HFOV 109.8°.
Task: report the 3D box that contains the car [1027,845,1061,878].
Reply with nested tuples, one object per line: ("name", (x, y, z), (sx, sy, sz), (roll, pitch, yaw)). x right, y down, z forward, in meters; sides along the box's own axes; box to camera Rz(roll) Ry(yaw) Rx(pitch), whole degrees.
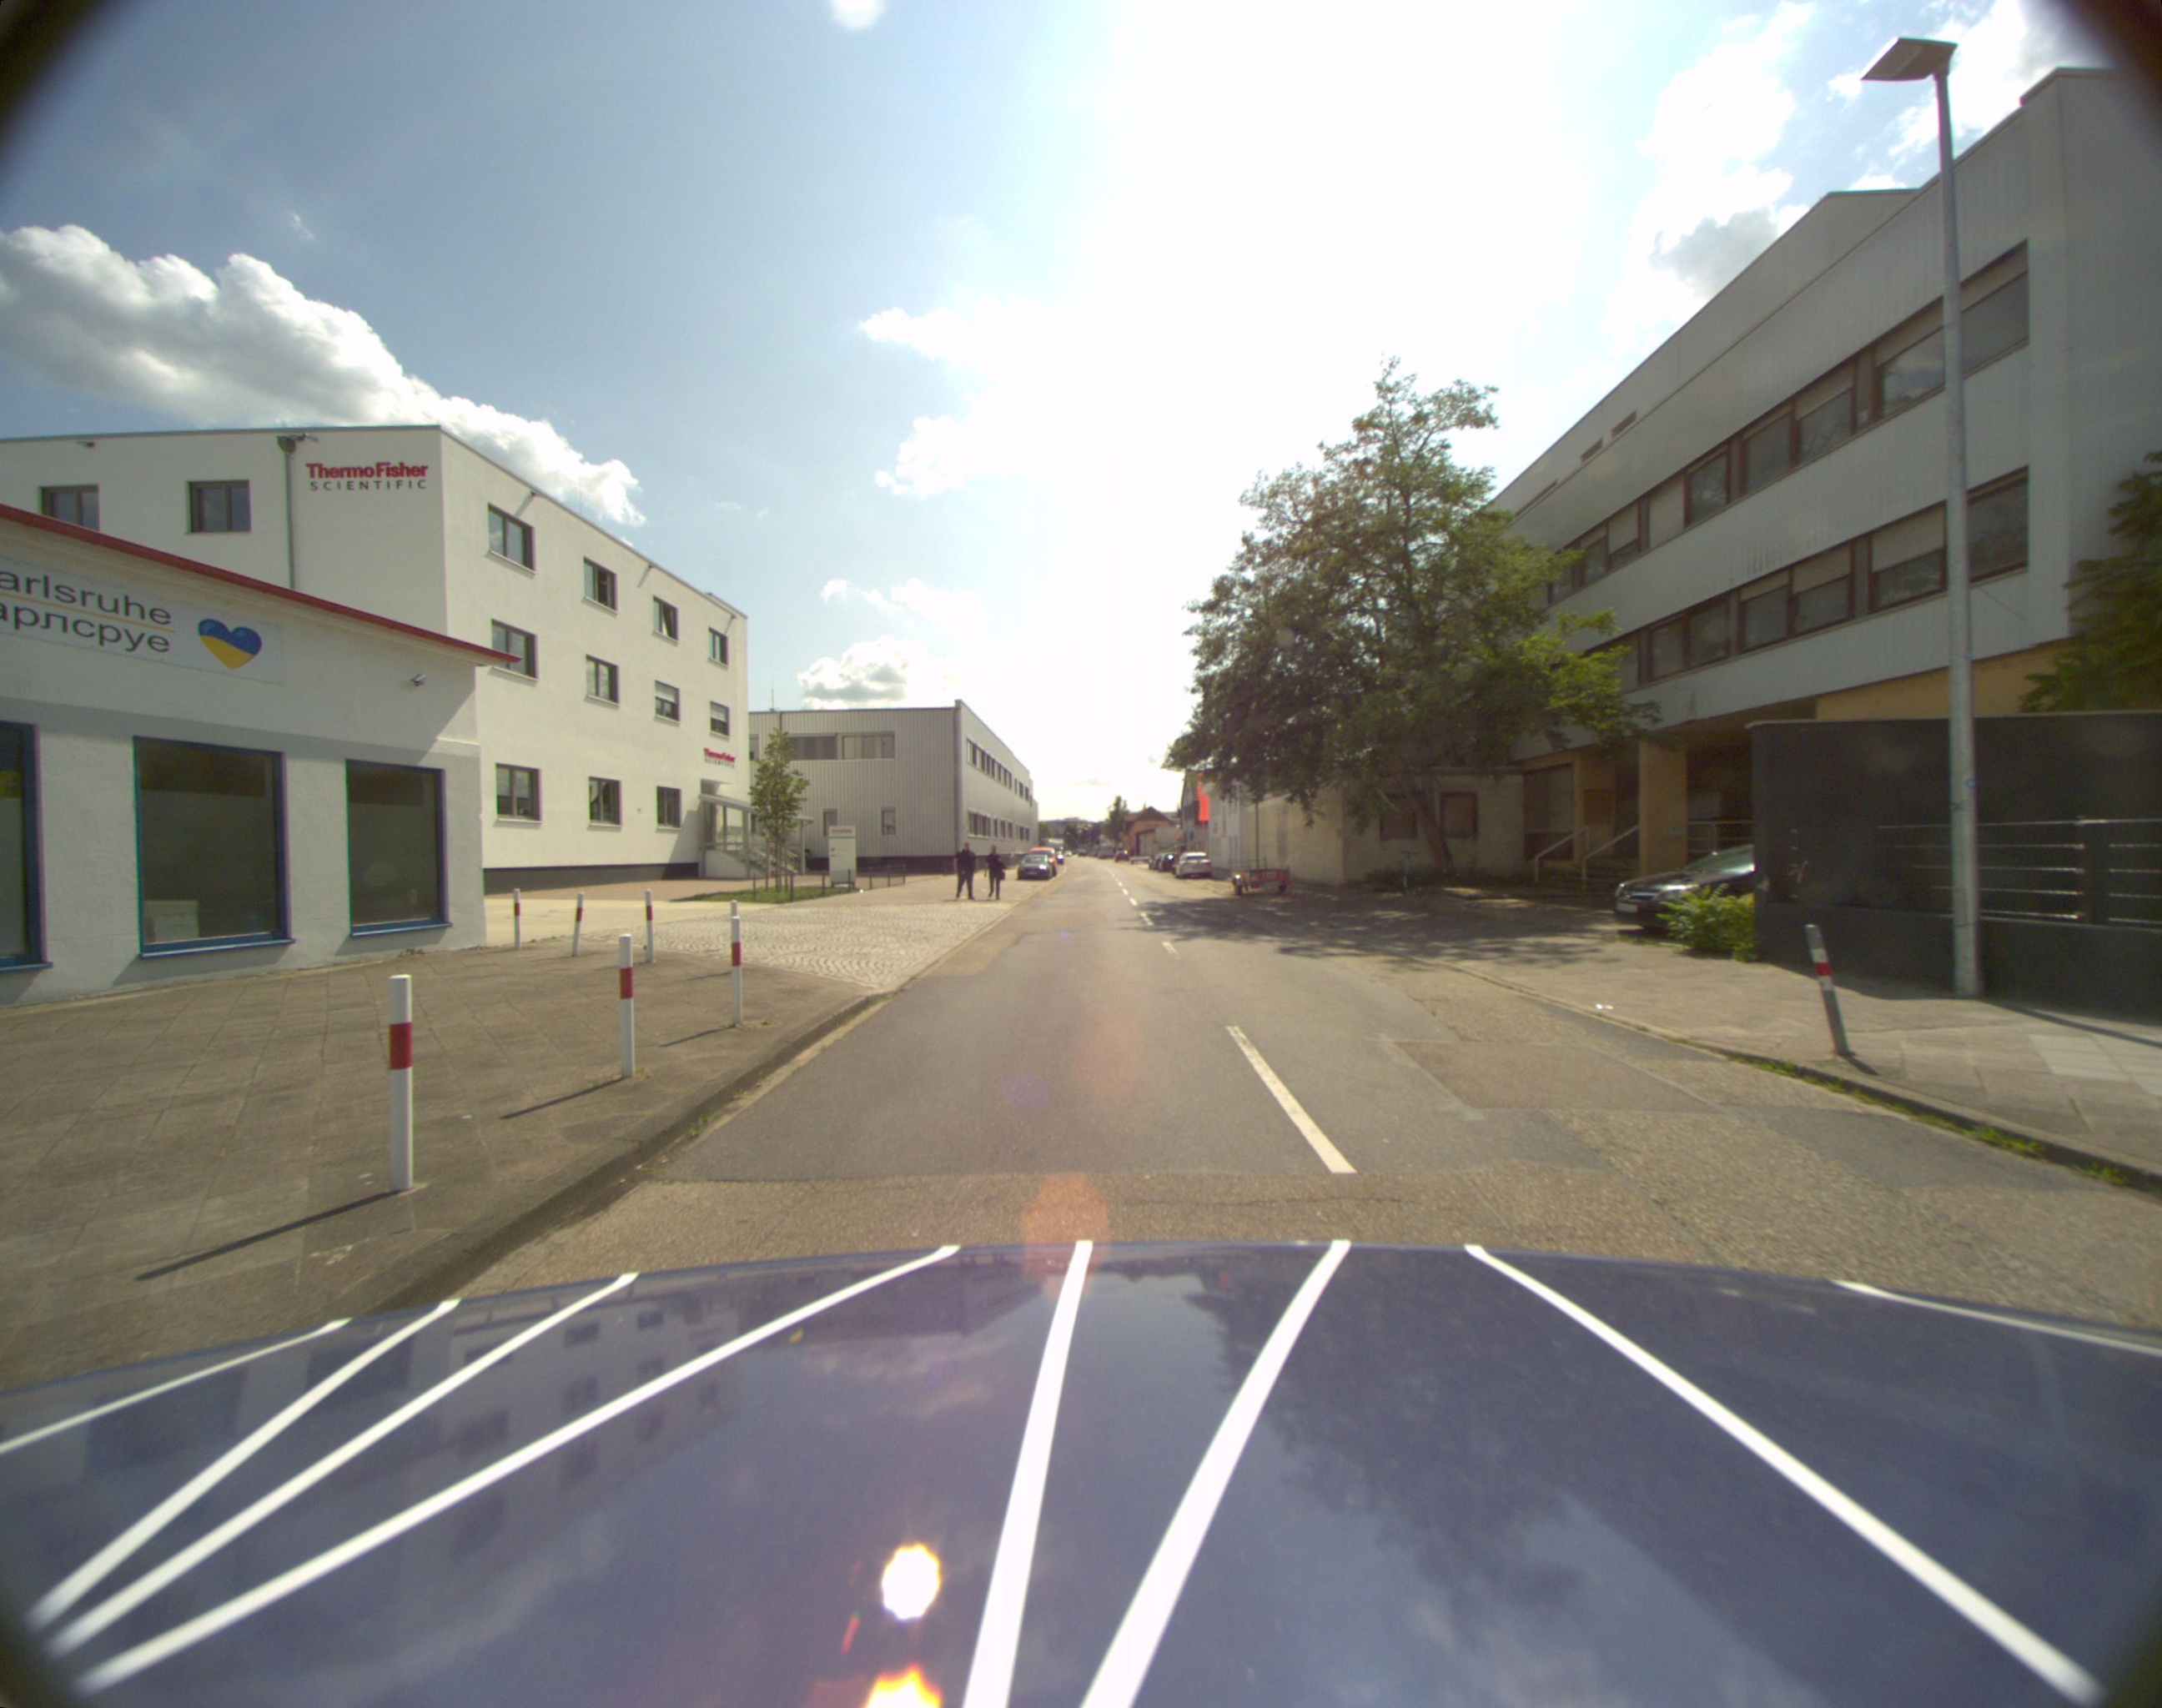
("car", (-2.325, 0.451, 49.121), (1.877, 1.881, 4.451), (-5, 1, -1))

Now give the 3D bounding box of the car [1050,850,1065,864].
("car", (-2.761, 0.320, 90.056), (1.714, 1.502, 4.113), (-4, 1, -1))

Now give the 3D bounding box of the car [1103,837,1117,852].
("car", (5.146, -1.701, 136.308), (2.079, 2.527, 5.822), (-4, 1, -1))

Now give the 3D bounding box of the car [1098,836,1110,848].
("car", (4.928, -2.559, 163.345), (1.999, 2.556, 5.822), (-4, 1, -1))

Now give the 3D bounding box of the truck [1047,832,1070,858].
("truck", (-3.192, -1.247, 104.884), (2.608, 3.207, 8.073), (-4, 1, -4))

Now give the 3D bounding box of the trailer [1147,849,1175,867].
("trailer", (7.040, 0.328, 67.261), (1.772, 1.369, 5.050), (-3, 1, -1))

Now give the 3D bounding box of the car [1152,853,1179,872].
("car", (6.783, 0.636, 61.544), (1.677, 1.369, 3.883), (-3, 1, -1))

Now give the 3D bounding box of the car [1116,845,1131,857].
("car", (5.830, -0.392, 104.803), (1.714, 1.459, 4.628), (-4, 1, 0))

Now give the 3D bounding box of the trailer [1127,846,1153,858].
("trailer", (6.672, -0.248, 85.967), (2.457, 1.157, 6.051), (-3, 1, 0))

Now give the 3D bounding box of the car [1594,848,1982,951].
("car", (10.332, 0.635, 11.396), (4.001, 1.354, 1.794), (-1, 2, 4))

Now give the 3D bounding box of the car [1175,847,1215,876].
("car", (6.454, 0.370, 43.366), (1.677, 1.447, 4.513), (-3, 1, 1))

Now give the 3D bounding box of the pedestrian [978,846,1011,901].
("pedestrian", (-2.889, 0.625, 25.304), (0.860, 1.797, 1.003), (-1, 1, -22))

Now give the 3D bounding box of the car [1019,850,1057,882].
("car", (-2.385, 0.623, 43.166), (1.663, 1.549, 4.177), (-4, 1, 2))

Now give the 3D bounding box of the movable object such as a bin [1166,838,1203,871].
("movable object such as a bin", (6.709, -0.004, 49.633), (1.618, 1.908, 5.137), (-5, 1, 0))

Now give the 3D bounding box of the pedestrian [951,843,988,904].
("pedestrian", (-3.676, 0.613, 24.986), (0.994, 1.940, 1.089), (-1, 1, -22))

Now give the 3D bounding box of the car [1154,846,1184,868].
("car", (6.460, 0.206, 56.356), (1.677, 1.447, 4.223), (-3, 1, 0))

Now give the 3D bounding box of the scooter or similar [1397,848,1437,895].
("scooter or similar", (9.549, 0.478, 21.637), (0.483, 1.272, 1.360), (-4, 1, 1))

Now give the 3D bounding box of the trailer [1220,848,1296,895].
("trailer", (6.345, 0.558, 27.741), (1.771, 1.431, 4.335), (-4, 1, 1))
